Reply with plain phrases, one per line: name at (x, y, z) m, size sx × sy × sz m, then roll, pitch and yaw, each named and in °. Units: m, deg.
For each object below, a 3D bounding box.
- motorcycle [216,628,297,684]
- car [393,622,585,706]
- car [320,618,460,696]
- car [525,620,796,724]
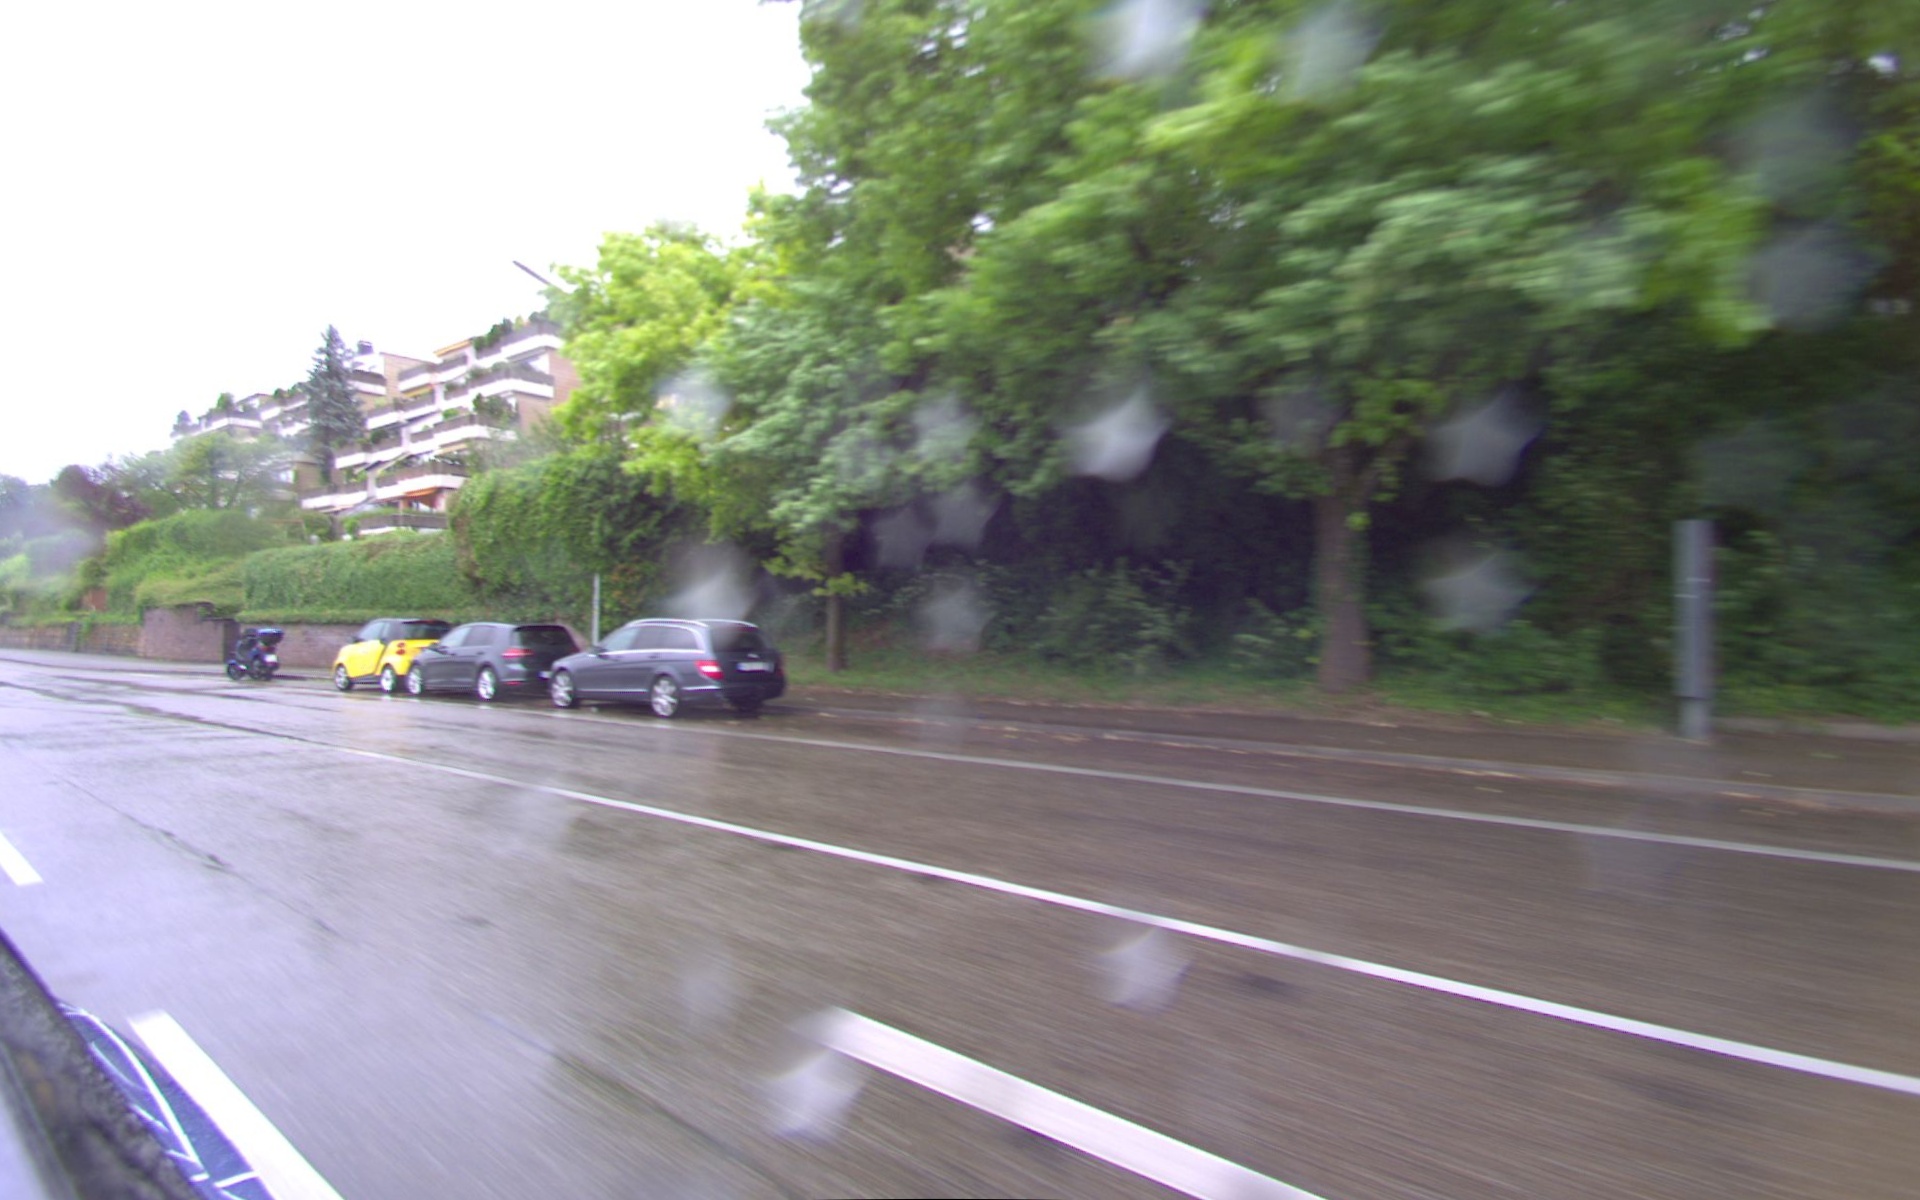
motorcycle at (-17.870, 1.399, 25.696) m, size 2.492 × 1.351 × 0.830 m, roll -1°, pitch -2°, yaw 34°
car at (-8.926, 1.136, 19.055) m, size 4.094 × 1.430 × 1.421 m, roll -1°, pitch -2°, yaw 35°
car at (-12.196, 1.173, 21.628) m, size 2.810 × 1.549 × 1.422 m, roll -1°, pitch -2°, yaw 32°
car at (-4.832, 1.039, 15.998) m, size 4.734 × 1.430 × 1.671 m, roll -1°, pitch -2°, yaw 38°
